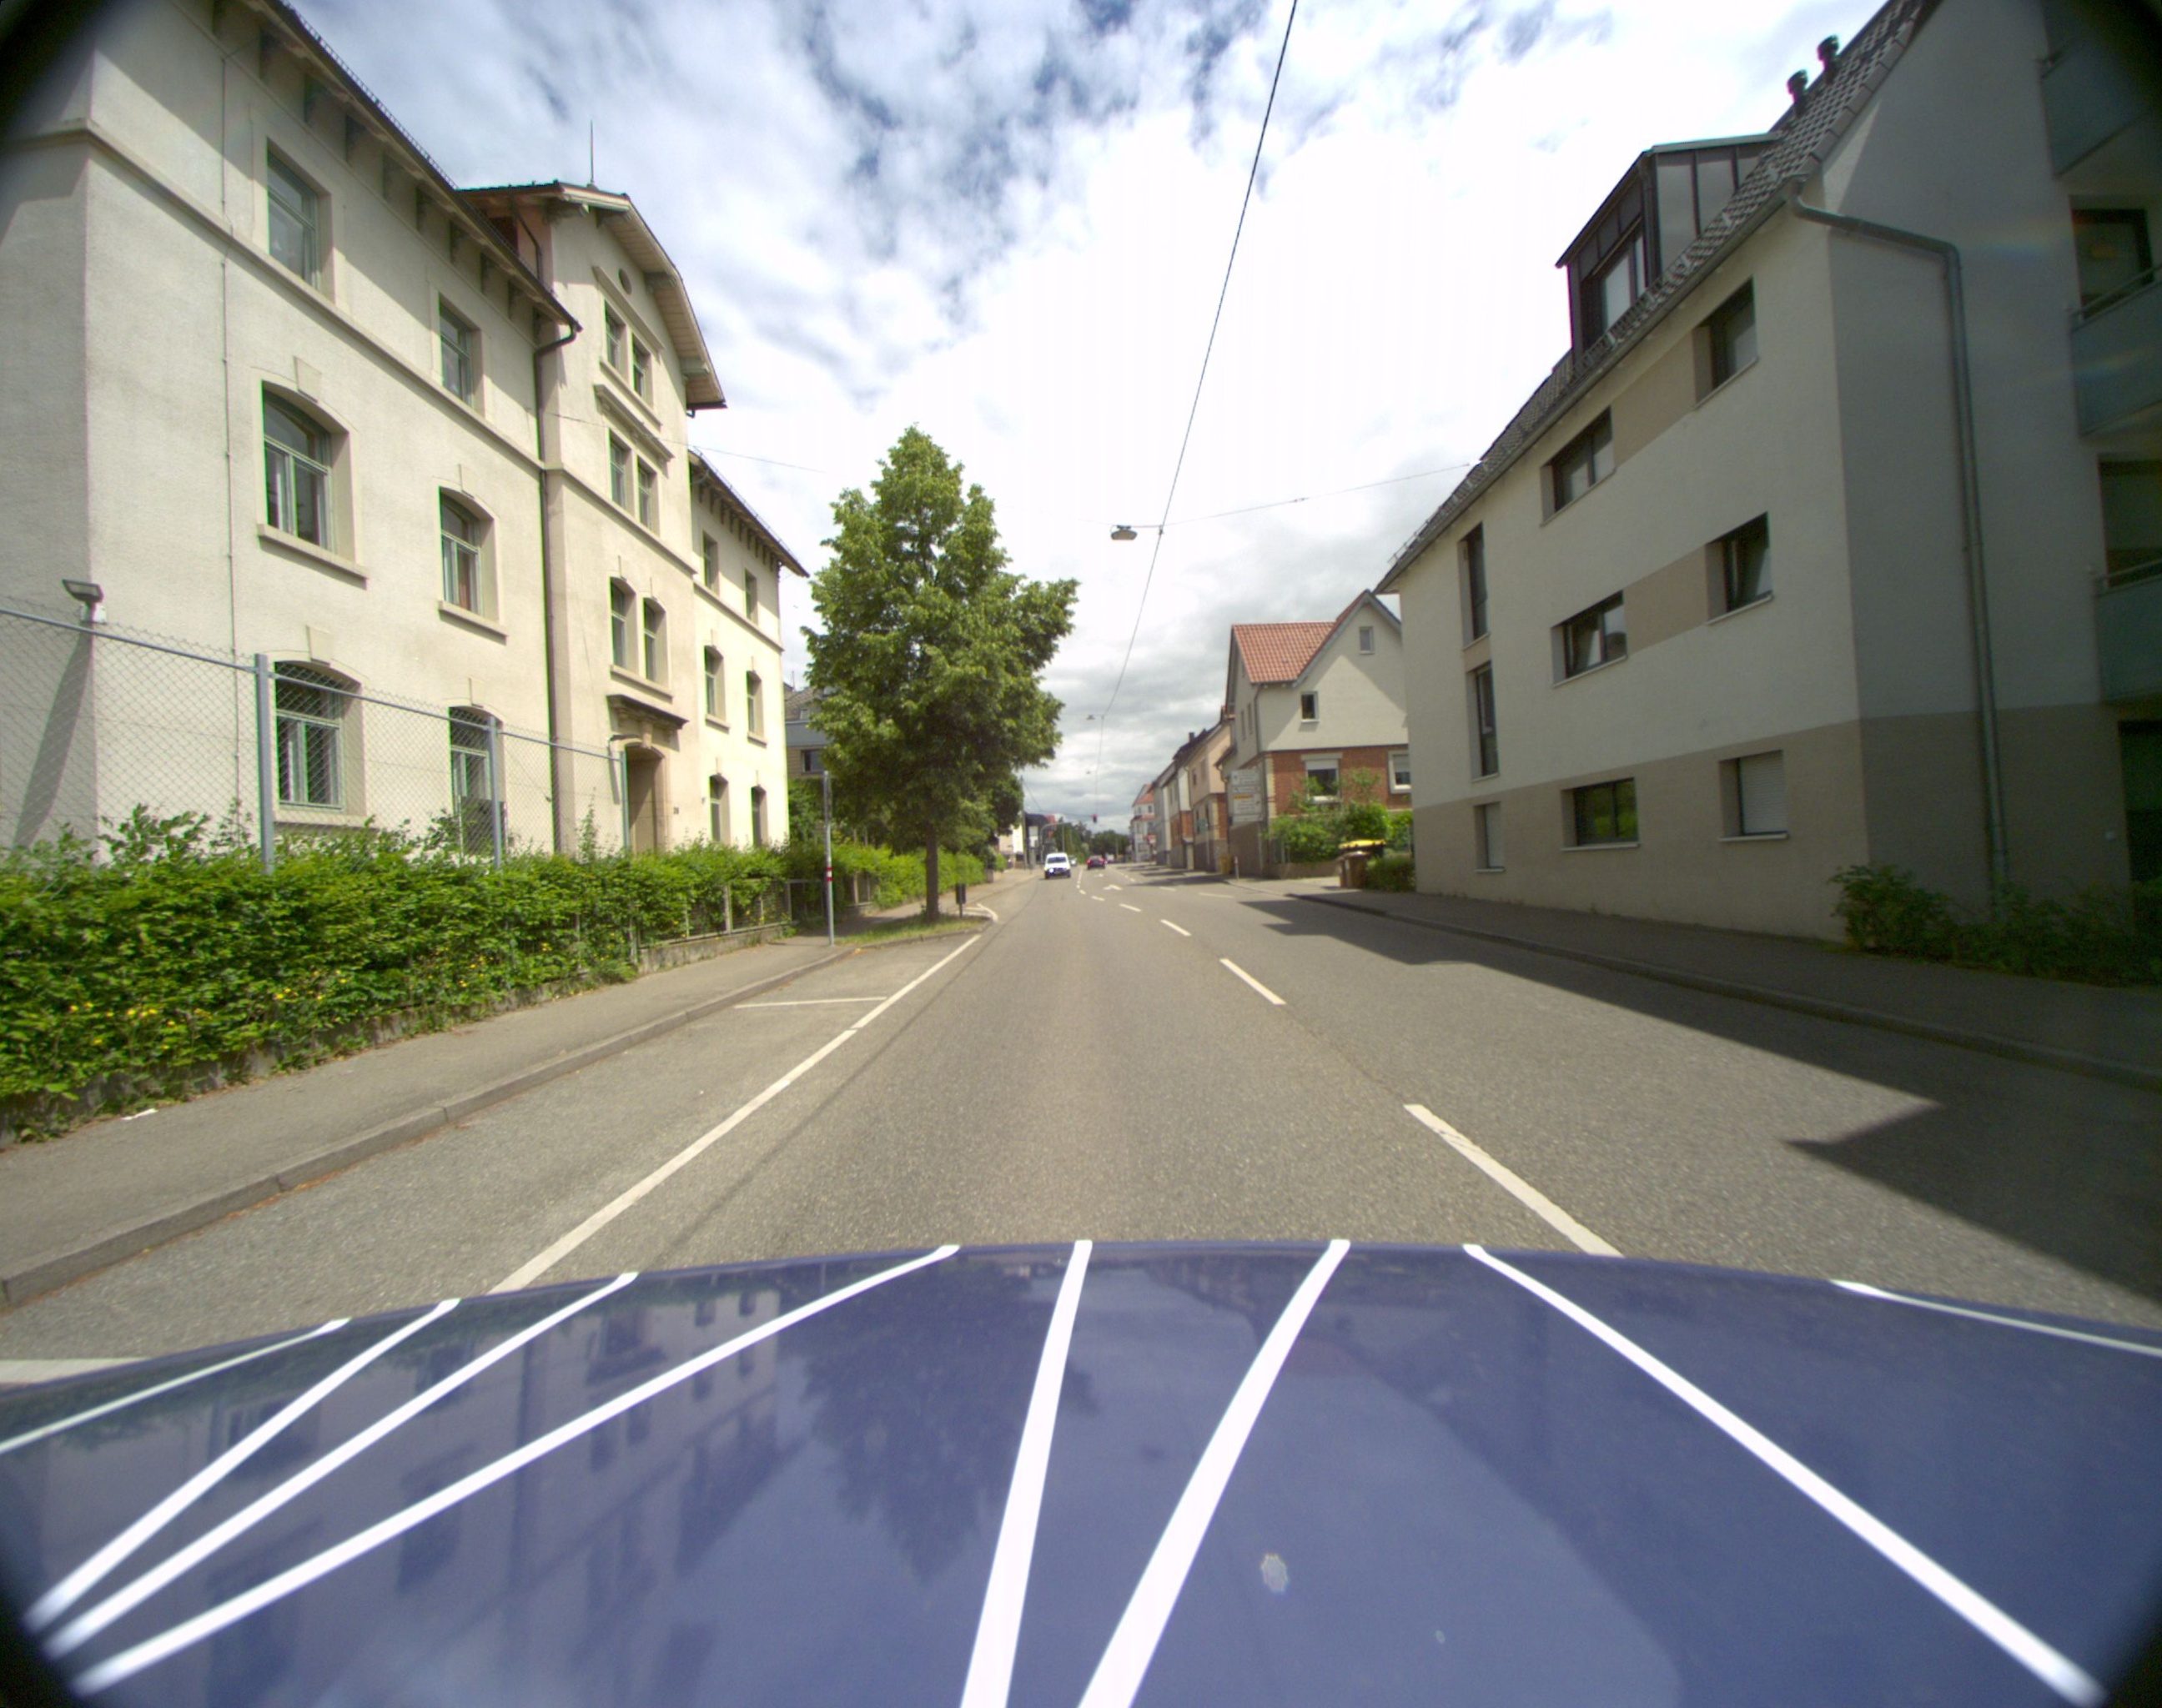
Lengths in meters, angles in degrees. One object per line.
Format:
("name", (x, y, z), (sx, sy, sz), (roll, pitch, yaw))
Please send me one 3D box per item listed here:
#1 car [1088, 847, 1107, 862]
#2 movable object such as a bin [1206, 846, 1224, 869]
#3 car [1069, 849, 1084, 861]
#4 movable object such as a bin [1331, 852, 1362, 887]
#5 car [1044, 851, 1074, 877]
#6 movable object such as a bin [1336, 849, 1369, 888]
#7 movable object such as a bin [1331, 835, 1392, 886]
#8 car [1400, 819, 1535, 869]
("car", (1.716, 0.061, 80.584), (1.795, 1.477, 4.000), (-5, 0, 0))
("movable object such as a bin", (6.984, 0.187, 39.667), (0.766, 1.155, 0.802), (-4, 2, 1))
("car", (-0.592, 0.131, 100.020), (1.795, 1.477, 4.000), (-5, 0, 0))
("movable object such as a bin", (7.912, 0.468, 22.691), (0.642, 0.995, 0.657), (-3, 1, -1))
("car", (-1.514, 0.682, 54.788), (1.893, 1.718, 4.293), (-3, 1, 1))
("movable object such as a bin", (7.824, 0.408, 21.942), (0.642, 1.069, 0.660), (-3, 1, -3))
("movable object such as a bin", (8.634, 0.190, 23.433), (1.338, 1.438, 1.170), (-3, 1, -4))
("car", (14.366, -0.381, 28.405), (3.997, 1.565, 2.000), (-4, 1, -1))
